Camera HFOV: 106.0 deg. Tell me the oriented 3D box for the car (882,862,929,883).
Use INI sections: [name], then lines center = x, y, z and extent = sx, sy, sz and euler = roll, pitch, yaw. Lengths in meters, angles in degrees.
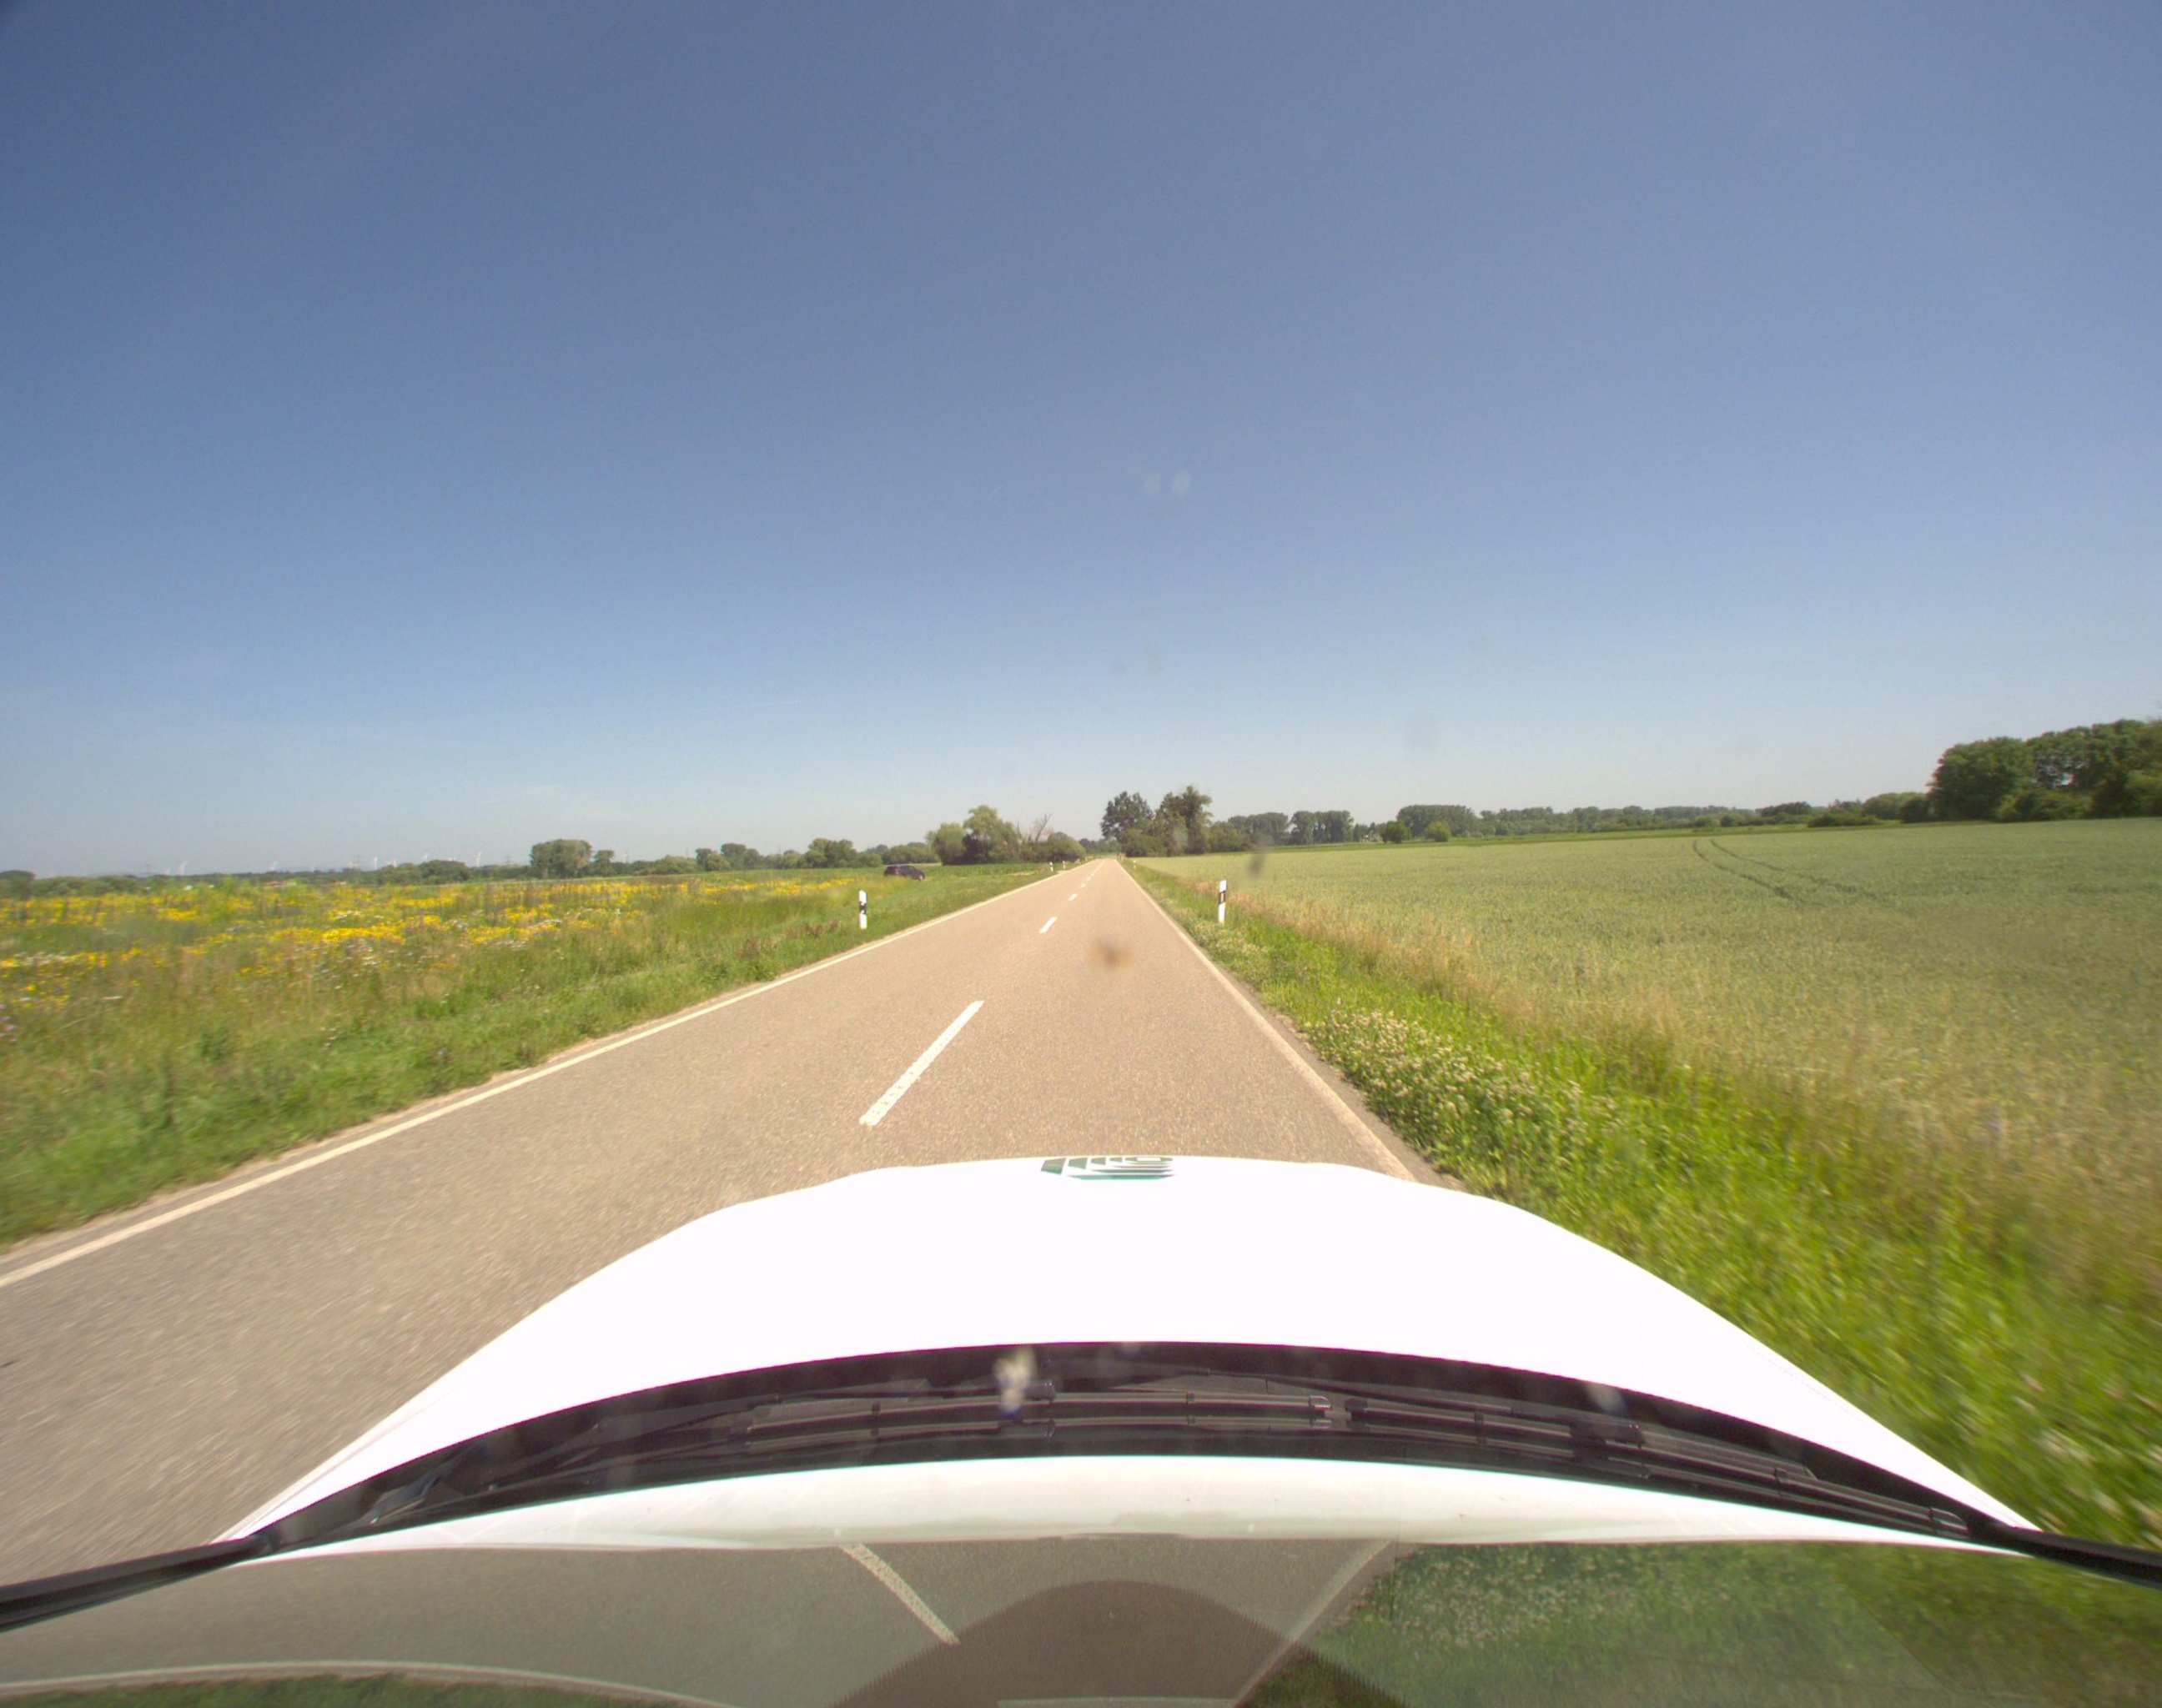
[car]
center = -16.408, 1.708, 76.223
extent = 1.736, 1.651, 4.557
euler = -3, 0, 28
